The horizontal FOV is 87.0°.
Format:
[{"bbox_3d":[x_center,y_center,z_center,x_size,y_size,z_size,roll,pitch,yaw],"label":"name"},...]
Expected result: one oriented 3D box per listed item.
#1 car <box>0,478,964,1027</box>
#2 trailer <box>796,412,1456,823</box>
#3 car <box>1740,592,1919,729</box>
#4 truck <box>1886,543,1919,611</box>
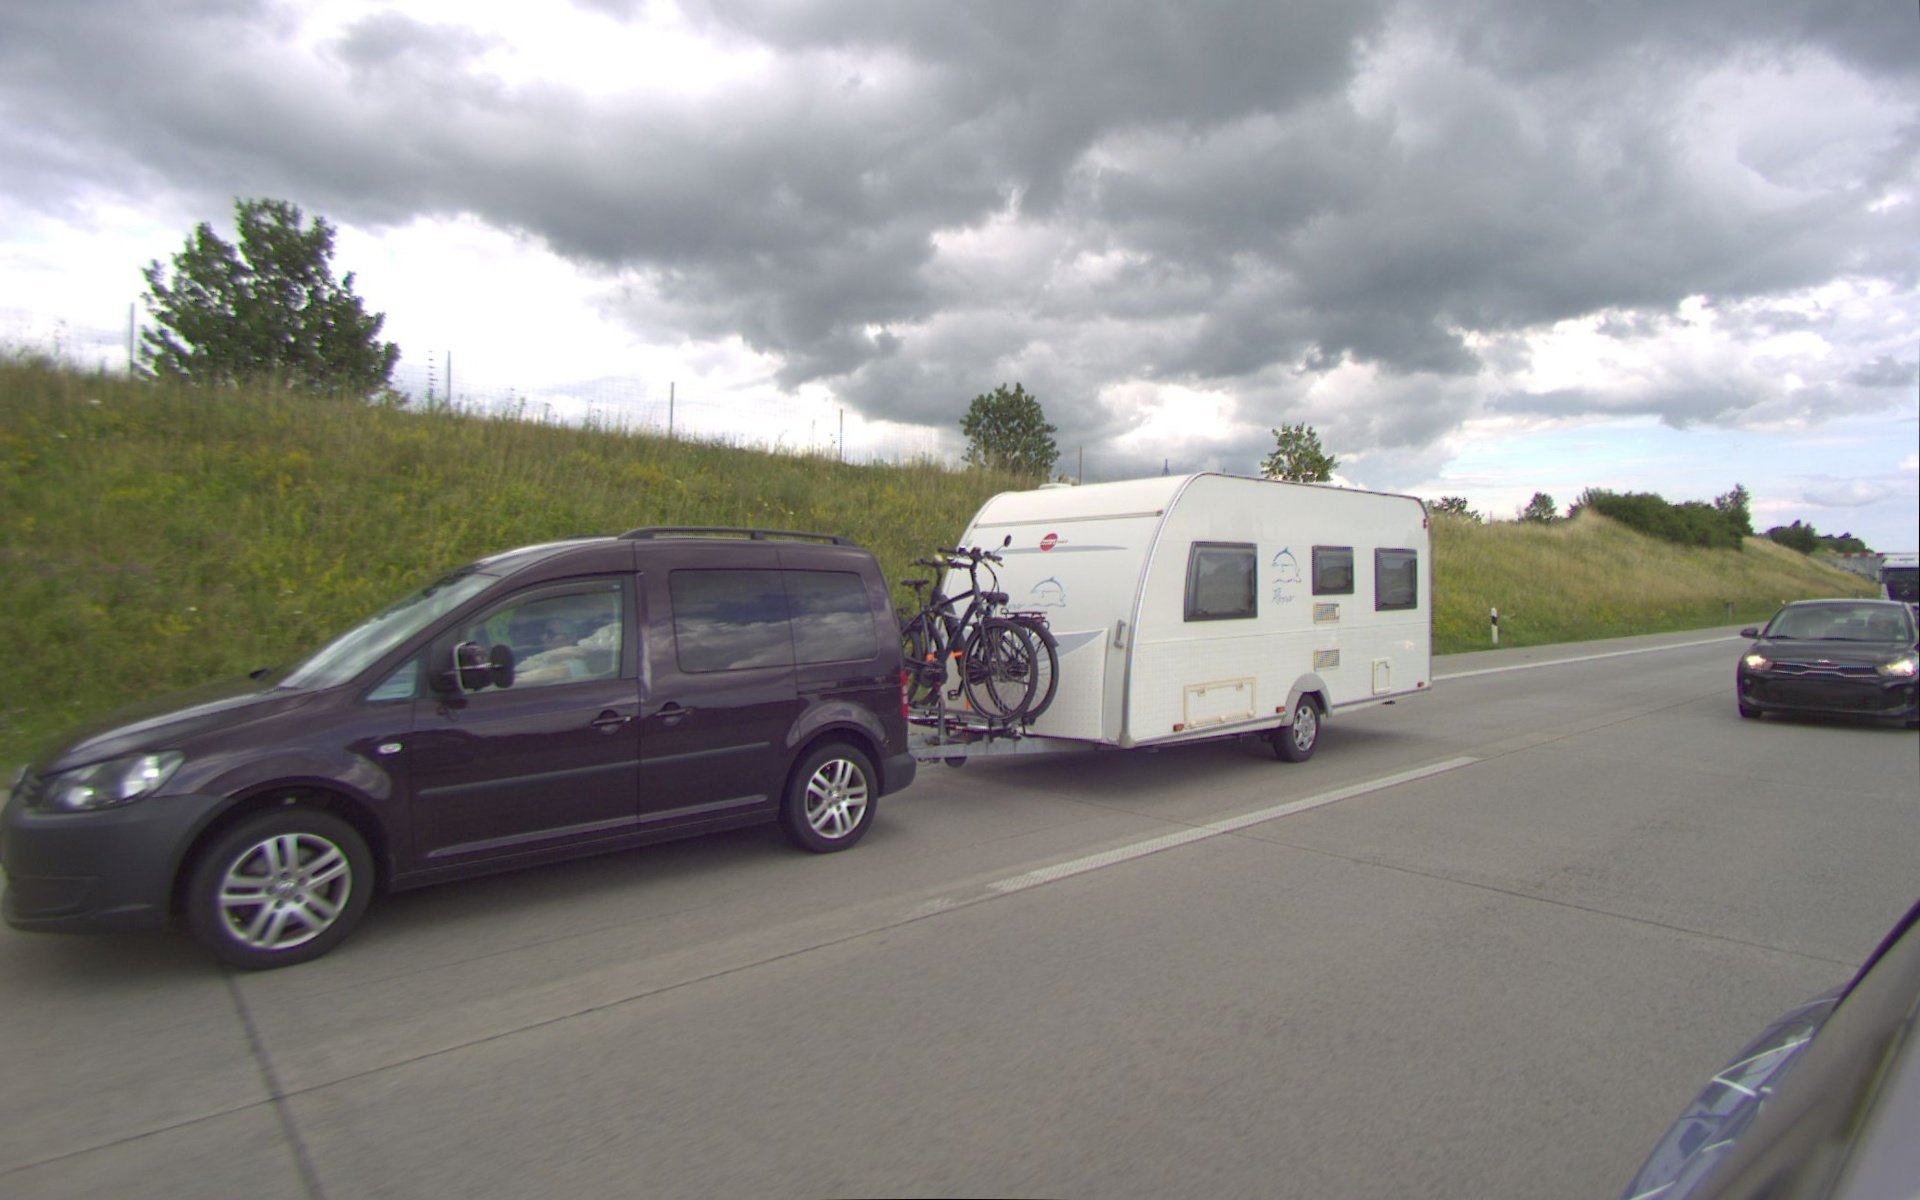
[{"bbox_3d":[-2.443,0.477,5.377,4.946,1.832,1.941,-1,1,-42],"label":"car"},{"bbox_3d":[1.969,0.057,9.525,6.607,2.566,2.612,-1,1,-42],"label":"trailer"},{"bbox_3d":[11.288,0.634,12.659,3.930,1.431,1.689,-1,1,-41],"label":"car"},{"bbox_3d":[64.214,-1.461,67.331,10.526,4.253,2.851,0,0,-42],"label":"truck"}]
